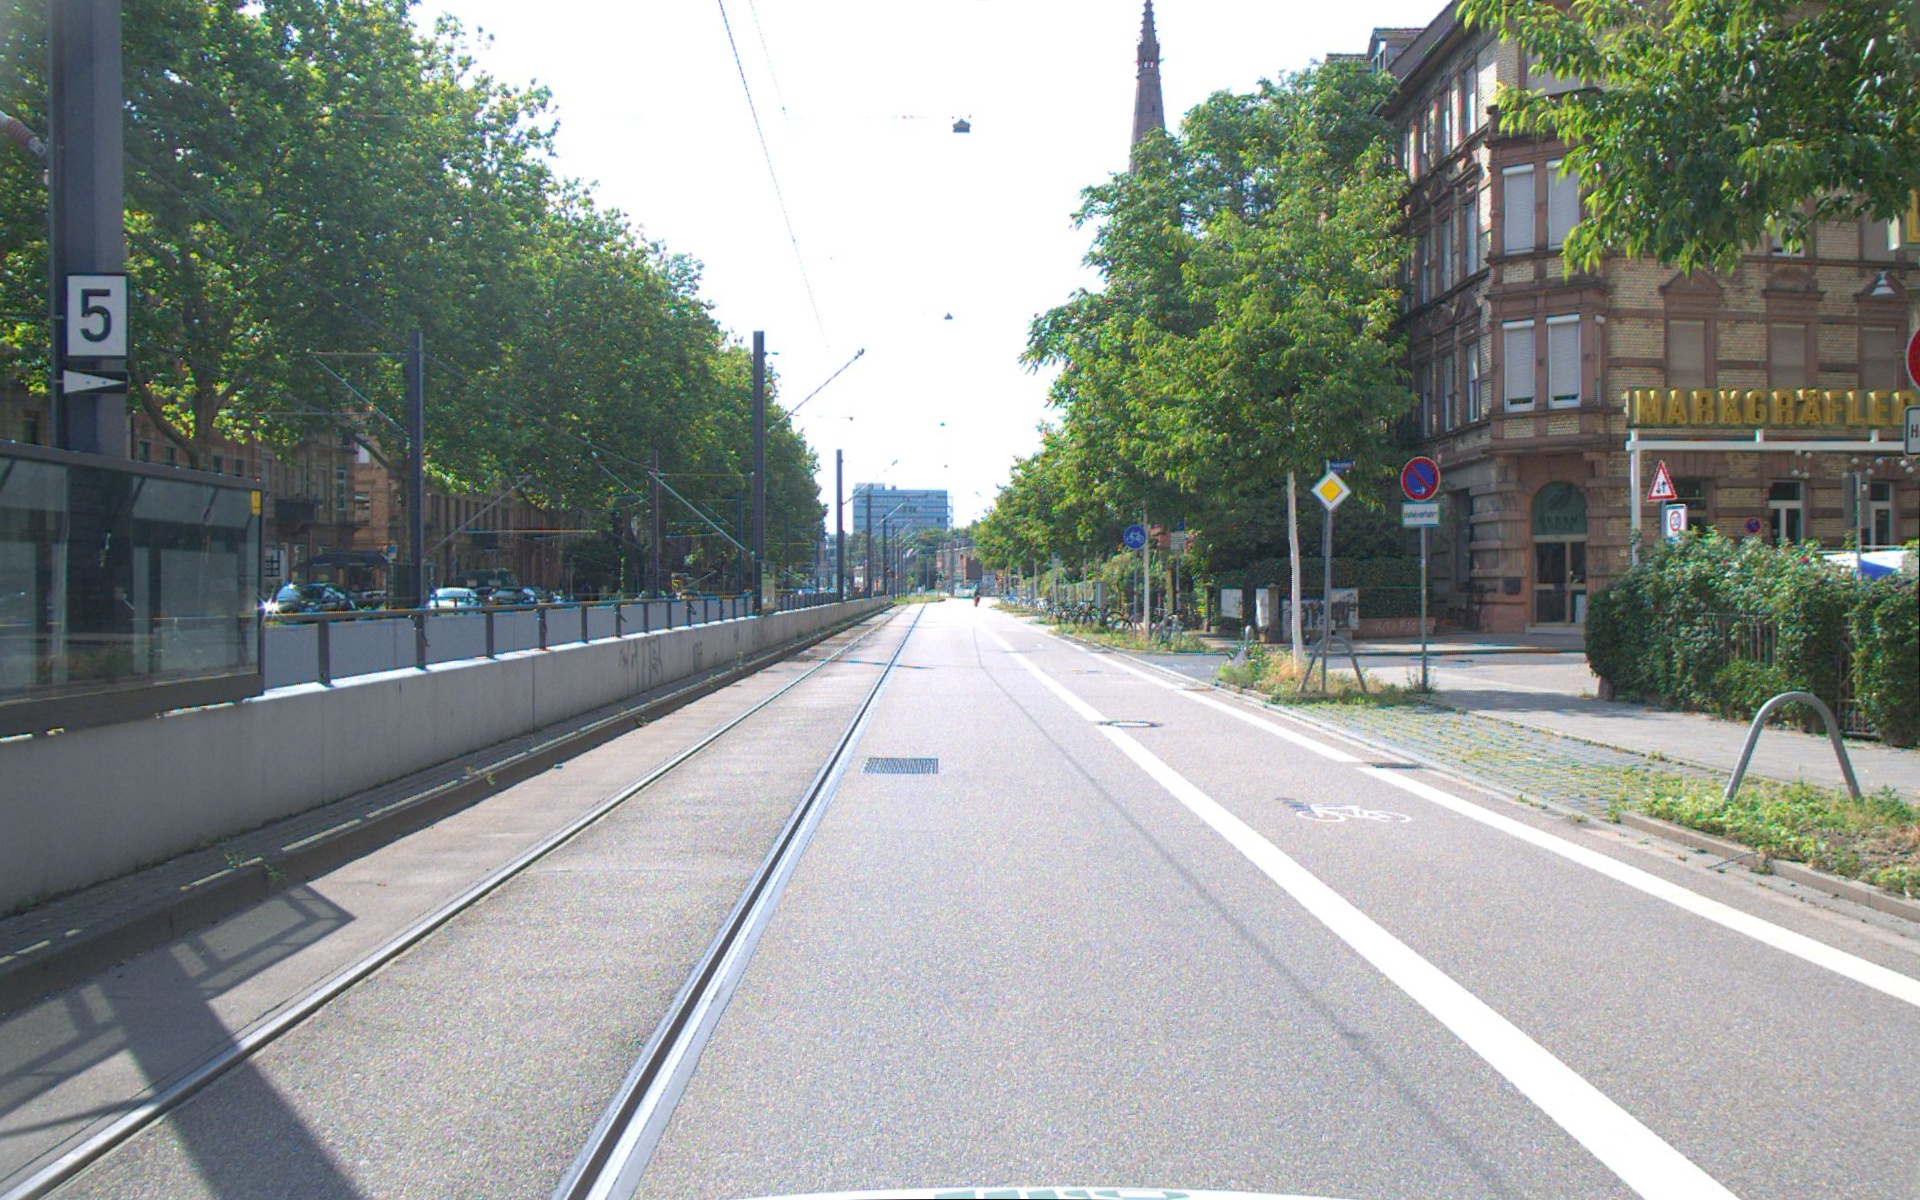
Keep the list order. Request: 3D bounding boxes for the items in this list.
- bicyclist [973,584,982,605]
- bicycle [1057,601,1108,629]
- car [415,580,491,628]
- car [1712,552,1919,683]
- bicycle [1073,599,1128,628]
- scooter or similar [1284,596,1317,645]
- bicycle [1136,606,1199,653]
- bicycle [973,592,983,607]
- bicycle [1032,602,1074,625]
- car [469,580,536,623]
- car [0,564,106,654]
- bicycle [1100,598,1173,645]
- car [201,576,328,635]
[{"bbox_3d":[1.445,-0.470,136.312,0.755,1.760,1.026,0,0,0],"label":"bicyclist"},{"bbox_3d":[4.604,0.561,62.160,1.780,0.918,0.603,-3,1,-4],"label":"bicycle"},{"bbox_3d":[-20.330,0.135,66.516,1.801,1.758,3.999,-3,1,-1],"label":"car"},{"bbox_3d":[15.751,0.311,29.550,1.958,2.142,4.472,0,-1,-11],"label":"car"},{"bbox_3d":[4.850,0.472,57.228,1.780,0.918,0.651,-3,1,-4],"label":"bicycle"},{"bbox_3d":[8.386,0.499,40.786,0.451,1.178,1.573,-1,0,0],"label":"scooter or similar"},{"bbox_3d":[4.930,0.696,39.413,0.640,1.057,1.810,-3,1,-22],"label":"bicycle"},{"bbox_3d":[1.488,-0.054,136.397,0.783,1.258,2.777,0,0,0],"label":"bicycle"},{"bbox_3d":[4.130,0.599,73.416,1.780,0.918,0.603,-3,1,-4],"label":"bicycle"},{"bbox_3d":[-19.791,0.040,71.702,1.801,1.758,3.999,-3,1,-1],"label":"car"},{"bbox_3d":[-19.324,0.170,33.612,1.682,1.720,3.732,-2,1,5],"label":"car"},{"bbox_3d":[4.757,0.572,44.585,1.784,1.165,0.650,-3,1,-12],"label":"bicycle"},{"bbox_3d":[-20.237,0.134,48.329,1.952,1.665,4.001,0,0,1],"label":"car"}]
